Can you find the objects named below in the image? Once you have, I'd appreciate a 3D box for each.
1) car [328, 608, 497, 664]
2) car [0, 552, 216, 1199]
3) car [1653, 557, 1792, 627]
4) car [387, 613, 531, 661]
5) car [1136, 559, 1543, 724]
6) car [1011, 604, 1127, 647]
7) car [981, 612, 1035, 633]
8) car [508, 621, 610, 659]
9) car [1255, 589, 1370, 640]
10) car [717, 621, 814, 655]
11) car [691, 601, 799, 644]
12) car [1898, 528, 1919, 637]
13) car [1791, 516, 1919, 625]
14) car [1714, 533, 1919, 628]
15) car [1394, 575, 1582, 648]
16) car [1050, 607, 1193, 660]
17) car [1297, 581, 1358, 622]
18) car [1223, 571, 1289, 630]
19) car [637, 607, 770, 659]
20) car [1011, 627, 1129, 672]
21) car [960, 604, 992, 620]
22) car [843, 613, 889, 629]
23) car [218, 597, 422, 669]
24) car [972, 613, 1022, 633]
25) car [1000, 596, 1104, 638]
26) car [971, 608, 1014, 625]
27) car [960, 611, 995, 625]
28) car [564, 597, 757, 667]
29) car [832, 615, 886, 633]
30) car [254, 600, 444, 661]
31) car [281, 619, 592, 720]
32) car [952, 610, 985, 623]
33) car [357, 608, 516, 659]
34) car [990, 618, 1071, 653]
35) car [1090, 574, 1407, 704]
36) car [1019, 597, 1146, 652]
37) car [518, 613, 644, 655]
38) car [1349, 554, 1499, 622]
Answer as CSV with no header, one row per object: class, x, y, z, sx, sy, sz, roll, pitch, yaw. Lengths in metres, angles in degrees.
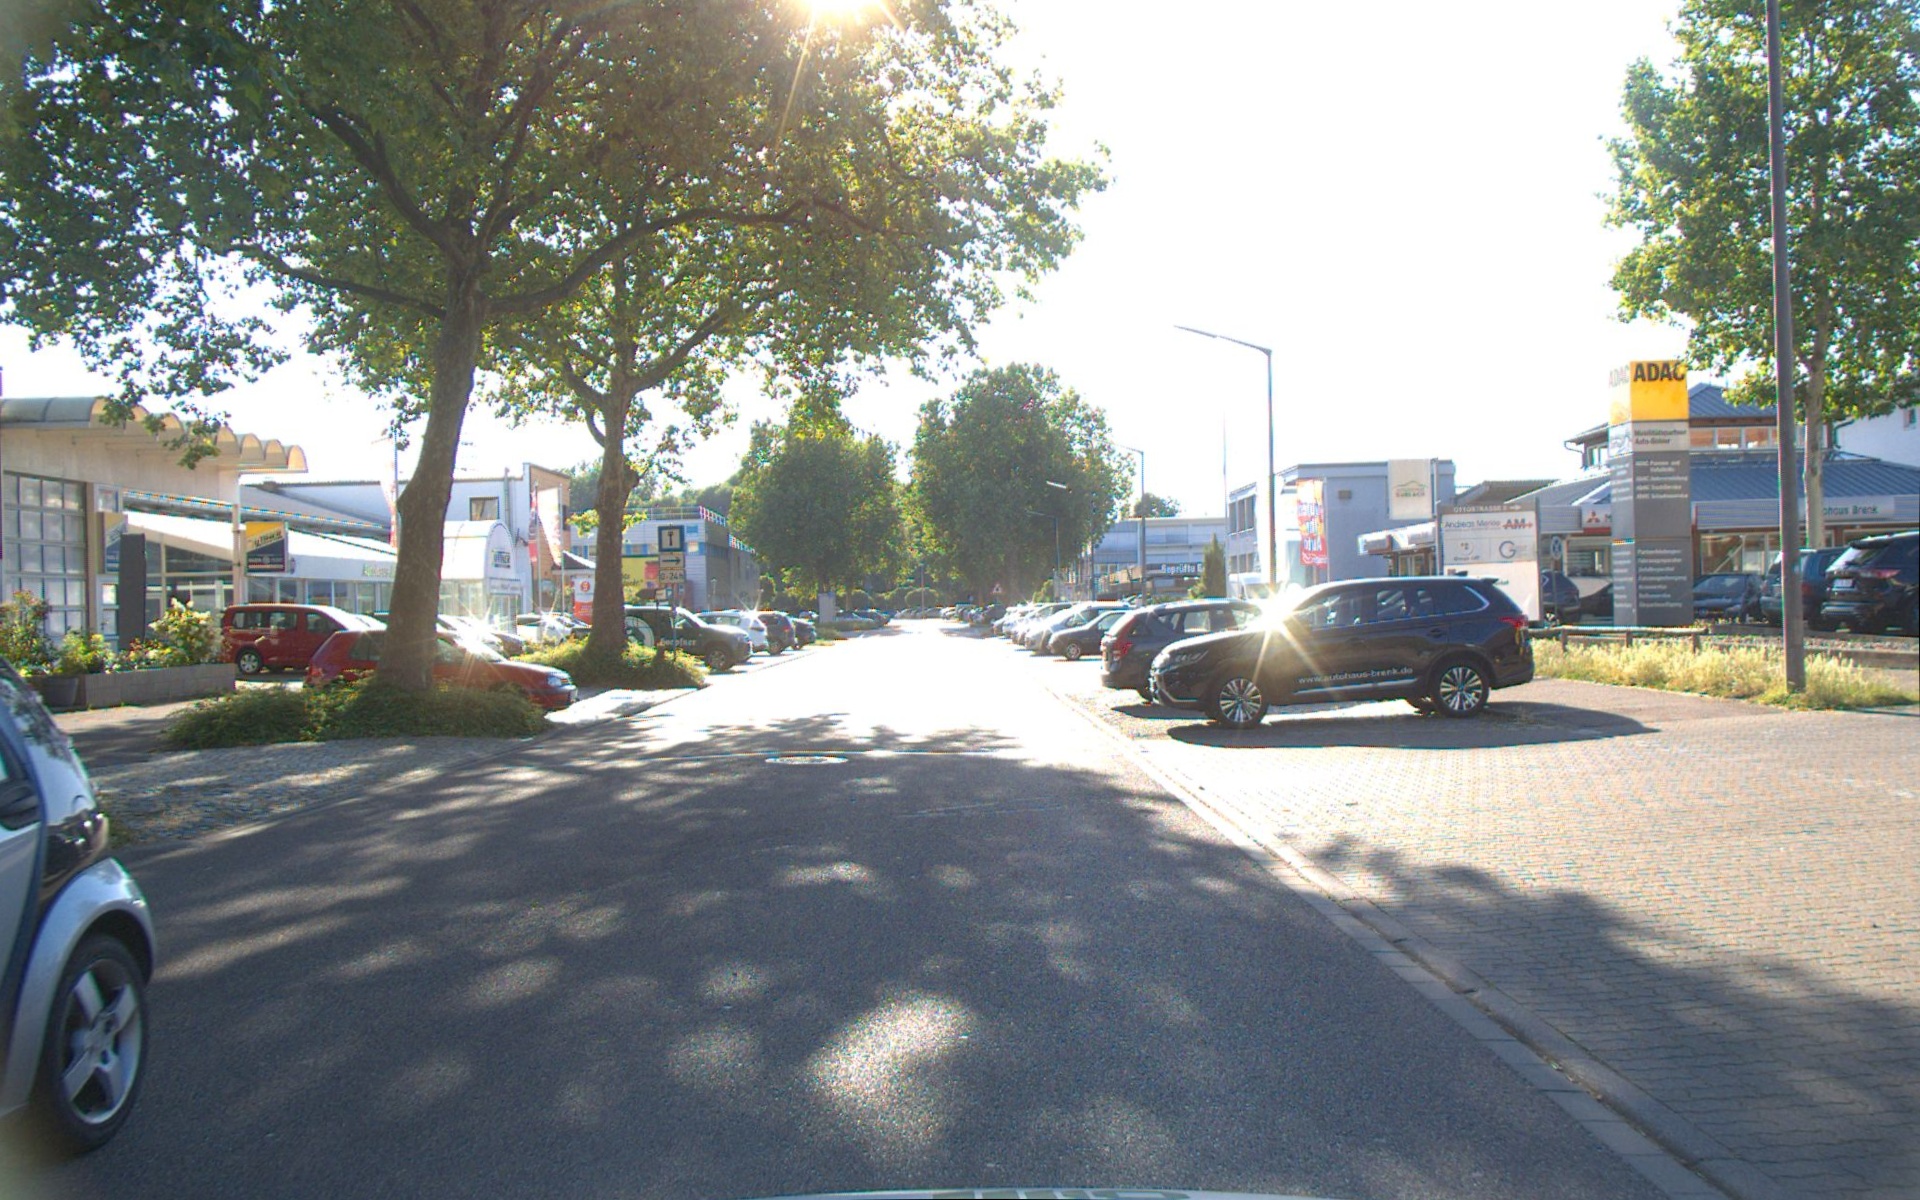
car,-17.076,1.126,51.736,4.623,1.672,1.999,0,-1,-2
car,-3.231,0.711,3.254,1.801,1.598,3.801,-3,-1,-1
car,20.457,-0.175,44.317,3.965,1.768,1.970,1,-1,-42
car,-17.150,1.266,56.795,4.374,1.580,1.835,0,-1,-2
car,4.559,0.508,20.436,4.506,1.607,2.000,-4,-1,1
car,4.284,0.994,65.602,4.347,1.461,2.135,-3,-1,-2
car,3.578,1.697,124.262,3.906,1.440,1.999,-1,-1,-1
car,-17.270,1.727,71.406,3.906,1.583,2.000,0,-1,-1
car,13.887,0.569,65.326,4.060,1.802,2.000,-3,-1,-1
car,-8.812,1.728,75.082,4.227,1.485,2.200,0,-1,-4
car,-8.604,0.897,66.499,4.147,1.685,2.200,0,-1,-4
car,15.632,-0.244,23.190,3.909,1.546,1.951,0,-1,-5
car,15.523,-0.419,26.049,3.909,1.623,1.998,0,-1,-5
car,15.455,-0.305,28.635,3.909,1.546,1.998,0,-1,-5
car,14.289,0.329,44.981,4.404,1.932,2.201,0,-1,-1
car,4.584,0.964,47.369,3.904,1.319,1.784,-3,-1,2
car,17.304,0.100,78.086,1.953,1.831,3.999,0,-1,-1
car,13.970,0.075,78.357,1.953,2.671,6.136,0,-1,-1
car,-8.612,1.112,55.892,4.217,1.685,2.200,0,-1,-4
car,4.085,1.841,61.845,4.160,1.633,1.743,0,-1,-6
car,1.934,1.428,202.303,3.906,1.808,1.826,-1,-1,-1
car,-9.080,2.017,159.775,4.324,1.543,2.000,0,-1,1
car,-17.032,0.886,44.193,4.650,1.851,1.999,0,-1,-2
car,2.905,1.825,131.593,3.906,1.440,1.826,-1,-1,-1
car,4.204,0.796,76.154,4.465,1.625,2.200,-4,-1,-4
car,2.993,1.517,152.484,3.906,1.440,1.826,-1,-1,-1
car,1.949,2.021,187.058,3.906,1.440,1.826,-1,-1,-1
car,-8.542,0.927,47.531,5.153,1.932,2.201,0,-1,-1
car,-8.352,2.001,136.486,4.330,1.427,1.997,0,-1,-6
car,-17.270,0.869,46.935,4.618,1.663,1.999,0,-1,-2
car,-8.088,1.062,25.871,4.209,1.472,1.999,1,-1,-1
car,1.020,1.958,199.821,3.906,1.440,1.826,-1,-1,-1
car,-17.092,1.083,54.163,4.567,1.620,1.927,0,-1,-2
car,4.006,2.032,94.576,4.435,1.702,1.752,-3,-1,-4
car,4.442,0.607,25.989,4.508,1.641,1.999,-4,-1,-1
car,4.002,0.795,54.578,3.909,1.615,1.866,-2,-1,-5
car,-15.790,1.421,69.152,4.845,1.718,1.999,0,-1,-3
car,13.839,-0.381,49.475,3.853,1.931,2.202,-1,2,-1
